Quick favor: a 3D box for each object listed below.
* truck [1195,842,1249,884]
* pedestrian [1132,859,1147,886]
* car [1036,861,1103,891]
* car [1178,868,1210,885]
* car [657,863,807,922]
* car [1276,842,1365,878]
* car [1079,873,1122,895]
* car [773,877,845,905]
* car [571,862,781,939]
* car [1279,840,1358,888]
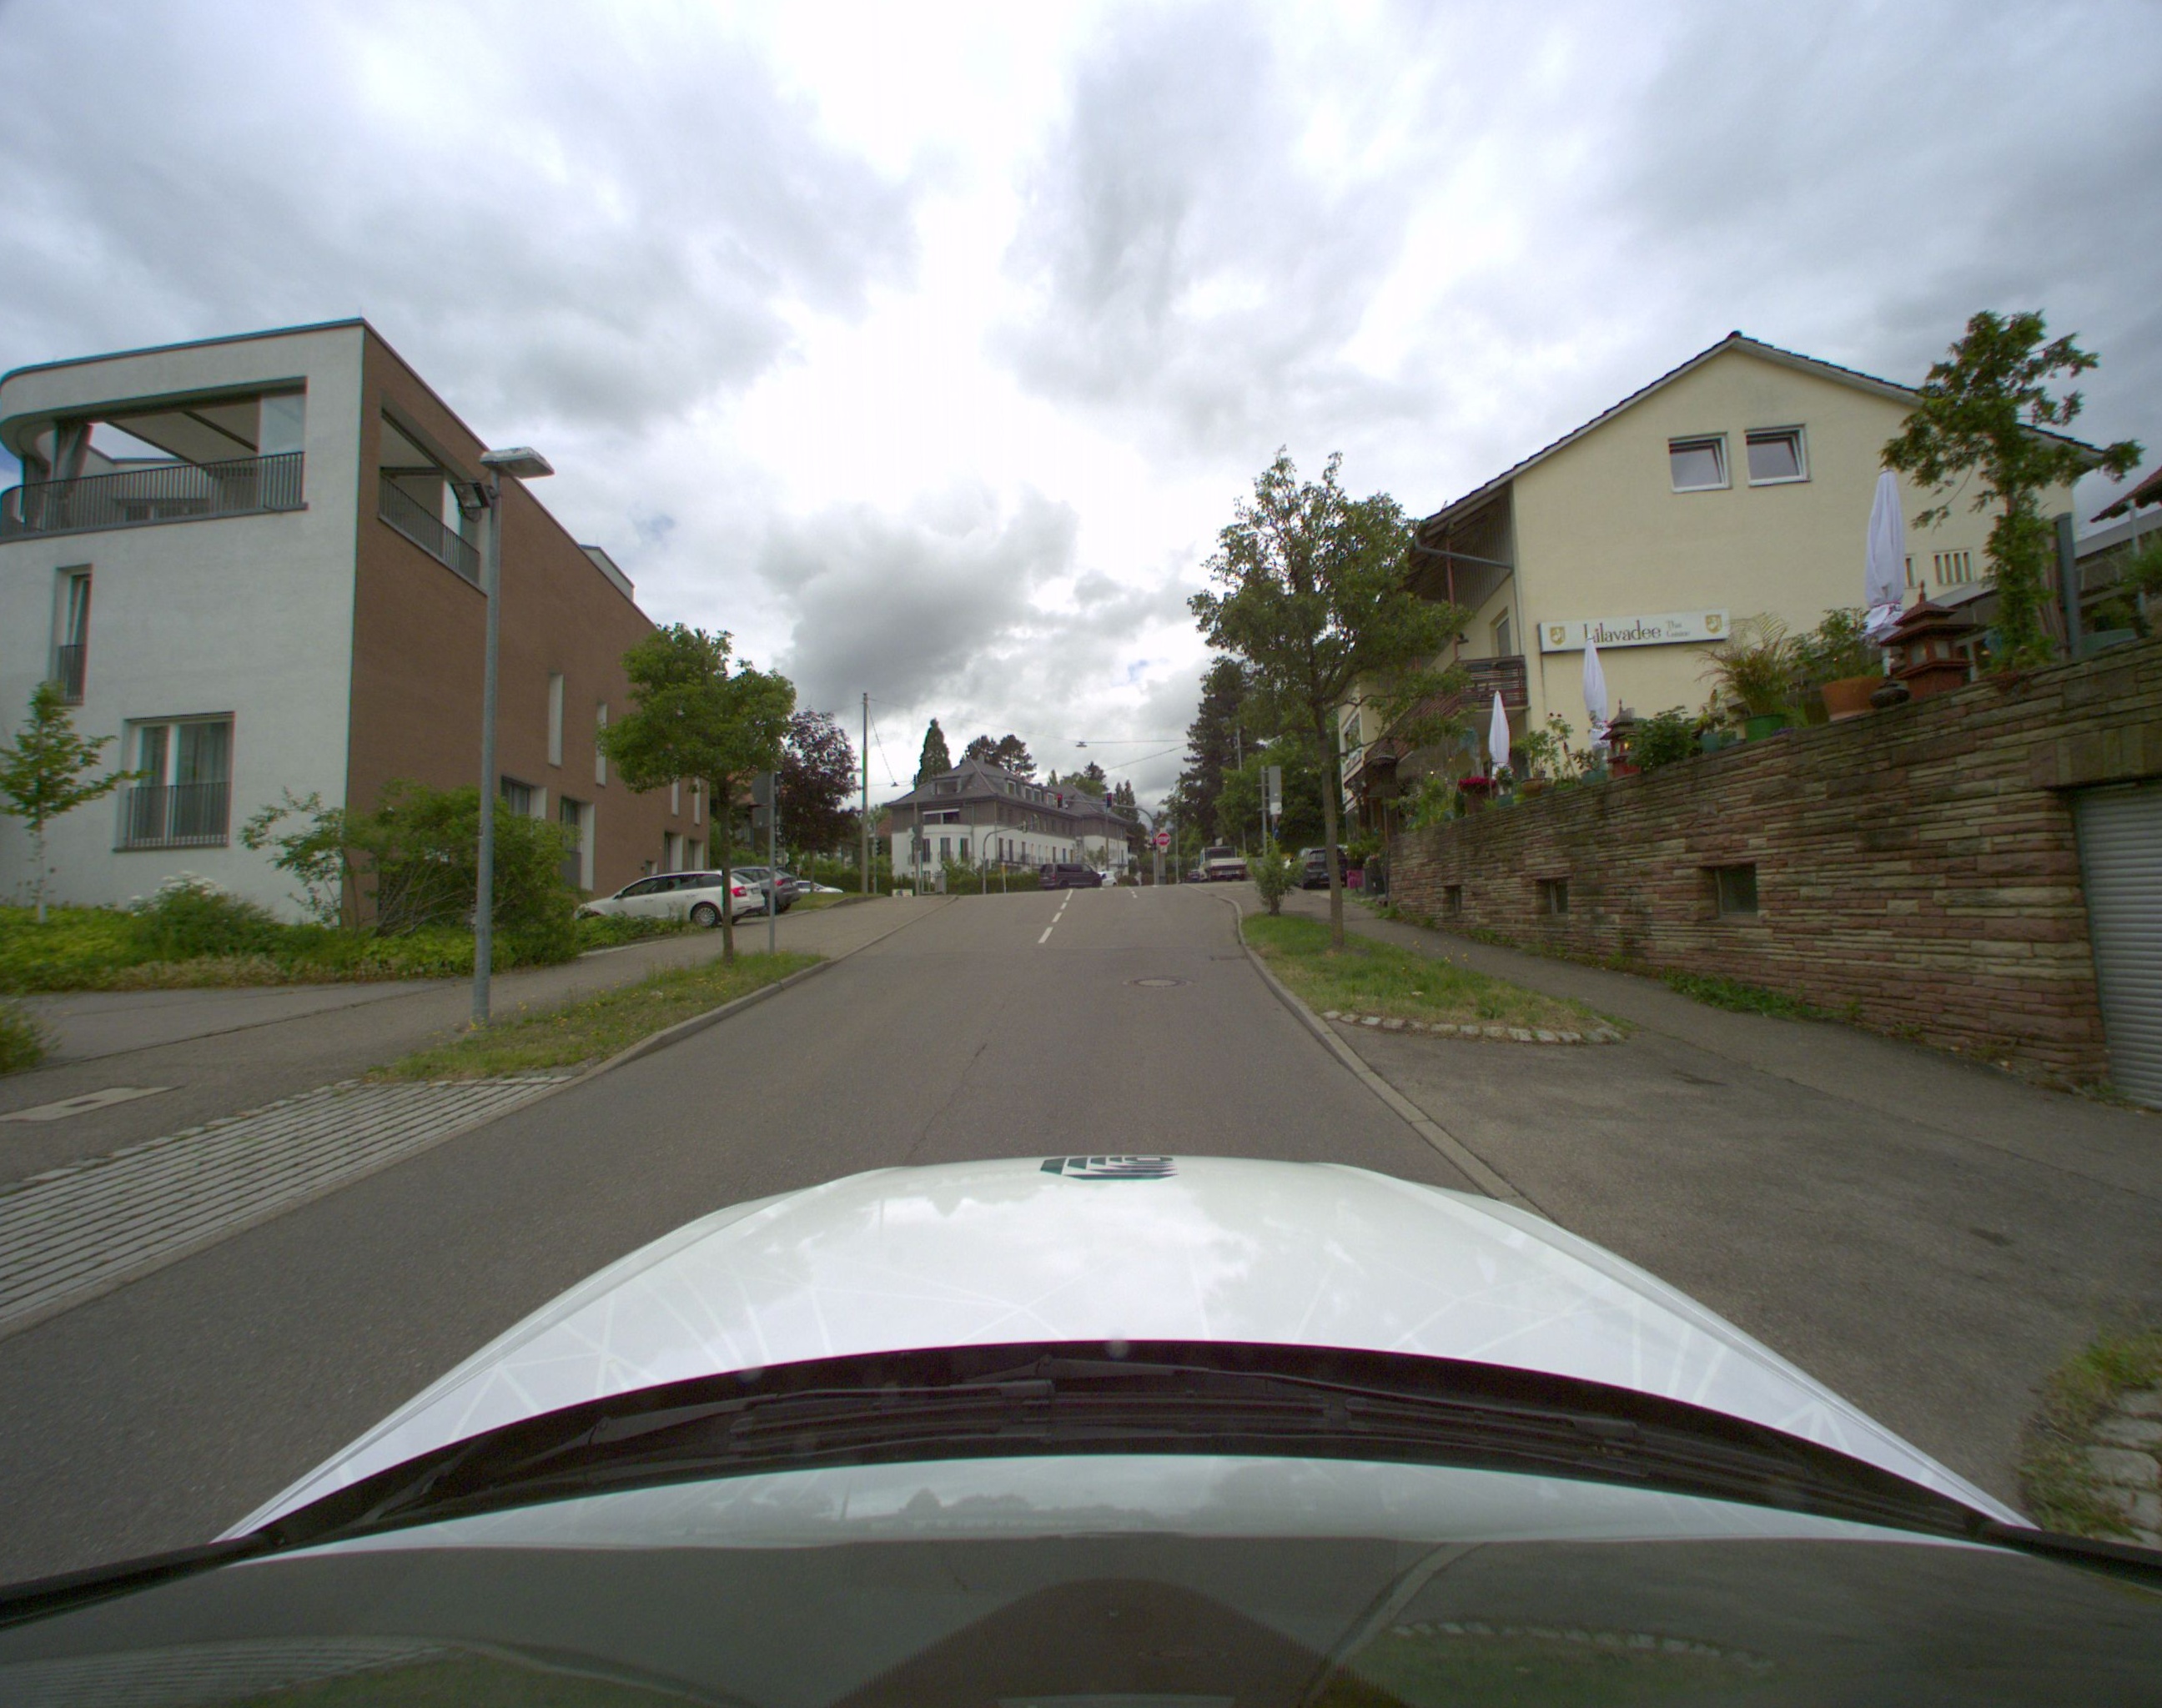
[{"bbox_3d":[8.448,0.602,49.366,2.177,2.195,5.879,-2,-3,0],"label":"truck"},{"bbox_3d":[3.684,1.167,51.387,0.700,1.682,0.681,-2,-1,-21],"label":"pedestrian"},{"bbox_3d":[-0.758,1.528,57.105,4.535,2.014,1.975,1,-3,-44],"label":"car"},{"bbox_3d":[11.237,2.185,80.866,2.136,1.491,4.736,-2,0,20],"label":"car"},{"bbox_3d":[-10.542,1.142,24.841,3.755,1.464,1.729,-3,1,-6],"label":"car"},{"bbox_3d":[12.497,0.352,42.470,4.202,1.594,1.998,-3,-4,23],"label":"car"},{"bbox_3d":[1.895,2.795,76.034,1.974,1.857,4.381,-2,0,33],"label":"car"},{"bbox_3d":[-16.199,2.176,48.602,3.999,1.383,1.925,-1,1,-19],"label":"car"},{"bbox_3d":[-10.177,1.150,20.761,4.250,1.623,2.012,-3,-1,-3],"label":"car"},{"bbox_3d":[8.568,0.364,29.775,1.840,1.472,4.391,-5,-1,5],"label":"car"}]
